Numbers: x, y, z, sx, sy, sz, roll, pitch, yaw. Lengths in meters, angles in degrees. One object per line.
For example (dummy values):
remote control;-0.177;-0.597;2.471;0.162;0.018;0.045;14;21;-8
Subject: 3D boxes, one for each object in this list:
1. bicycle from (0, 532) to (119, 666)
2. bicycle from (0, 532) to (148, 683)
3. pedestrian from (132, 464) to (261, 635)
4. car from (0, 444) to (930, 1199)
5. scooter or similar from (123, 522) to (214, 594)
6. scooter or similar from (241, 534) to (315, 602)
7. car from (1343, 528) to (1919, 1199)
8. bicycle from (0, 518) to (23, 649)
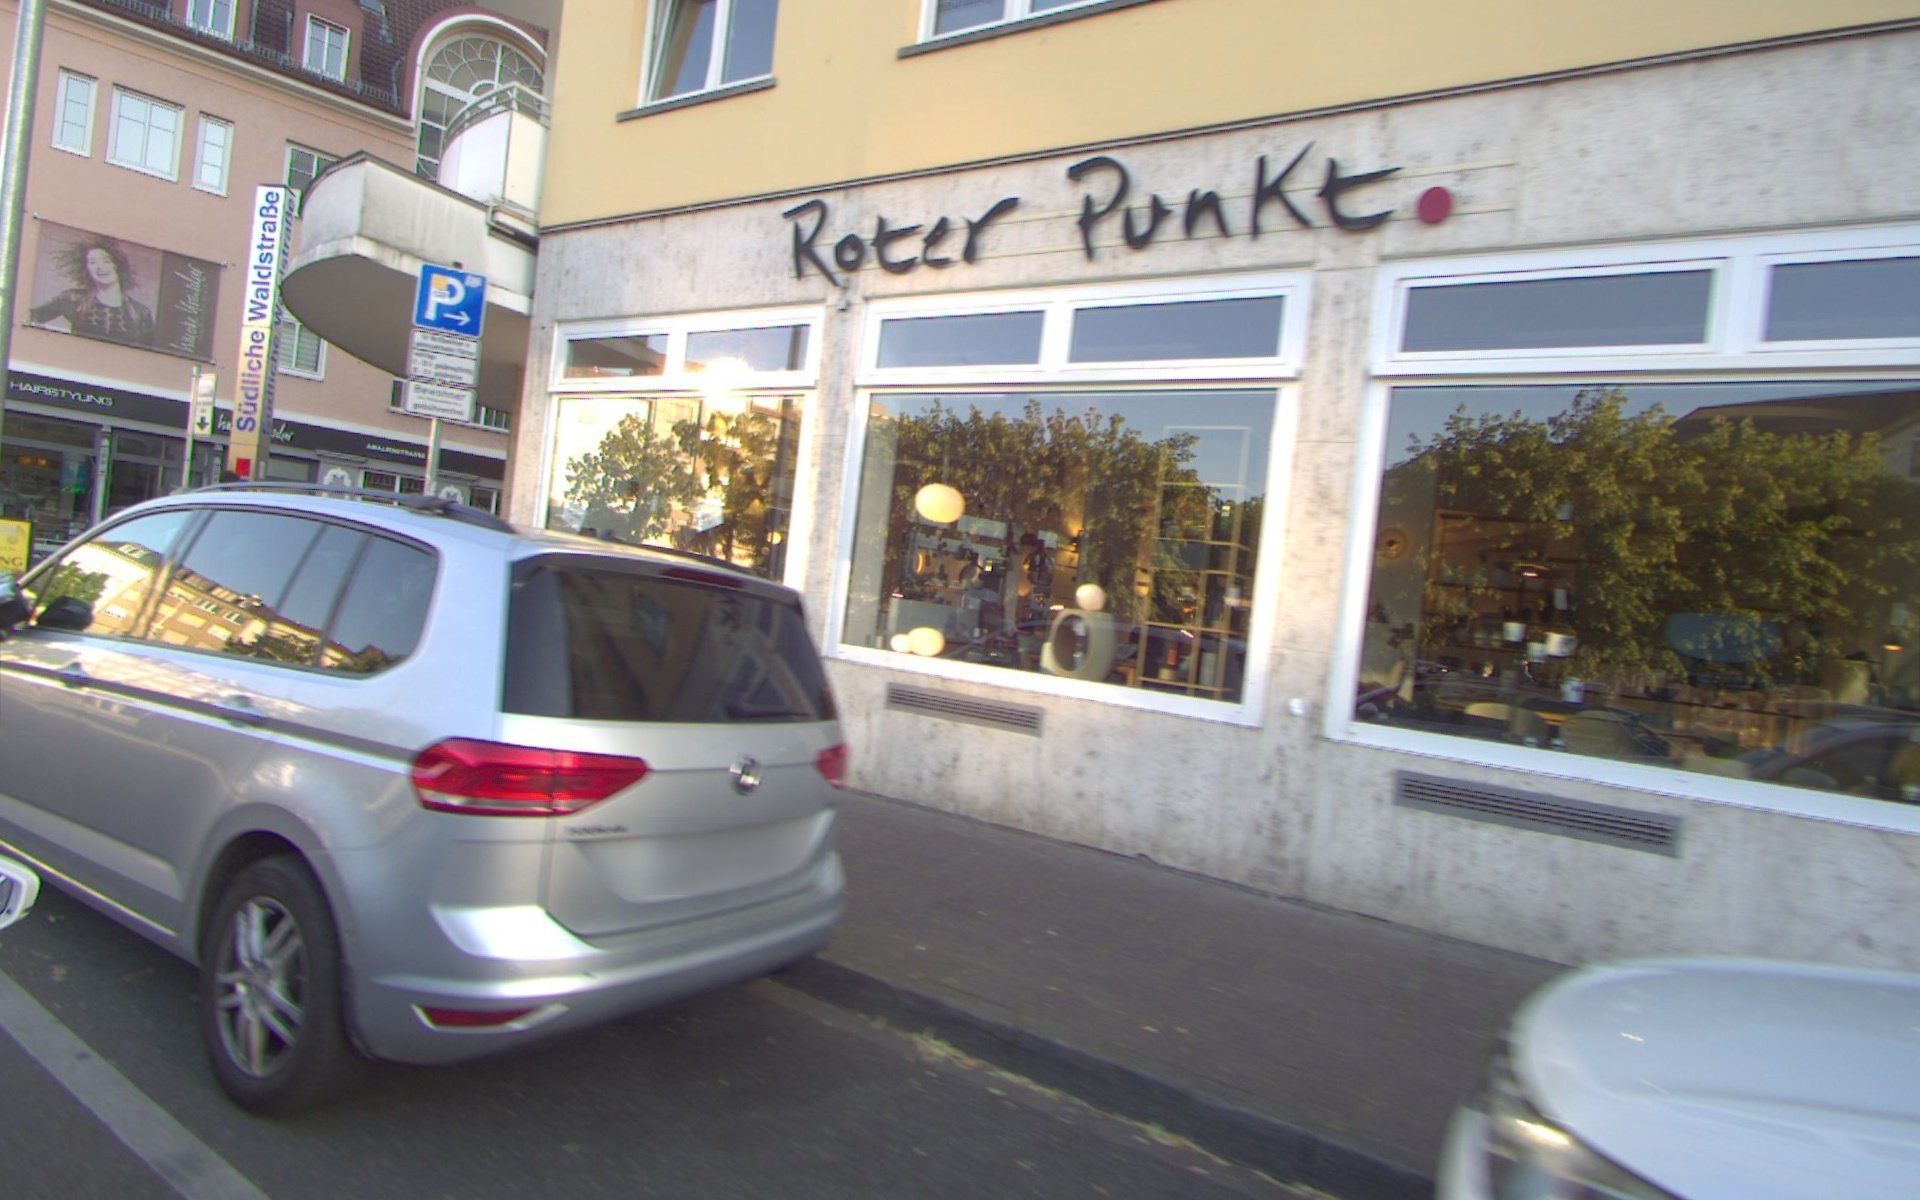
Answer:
bicycle;-8.416;-0.048;8.220;0.791;1.089;2.174;7;0;25
bicycle;-7.537;0.040;7.782;0.584;1.137;1.850;6;0;20
pedestrian;-8.809;-0.577;11.611;0.858;1.839;0.823;7;0;35
car;-2.596;0.386;4.024;4.603;1.636;1.701;7;-1;30
scooter or similar;-15.266;-0.805;19.436;1.246;1.229;0.463;7;0;-36
scooter or similar;-14.487;-0.676;21.390;1.192;1.276;0.360;7;0;-34
car;2.658;1.009;0.868;4.134;1.640;1.819;7;-1;32
bicycle;-9.292;-0.200;8.561;0.611;1.188;1.787;7;1;20
